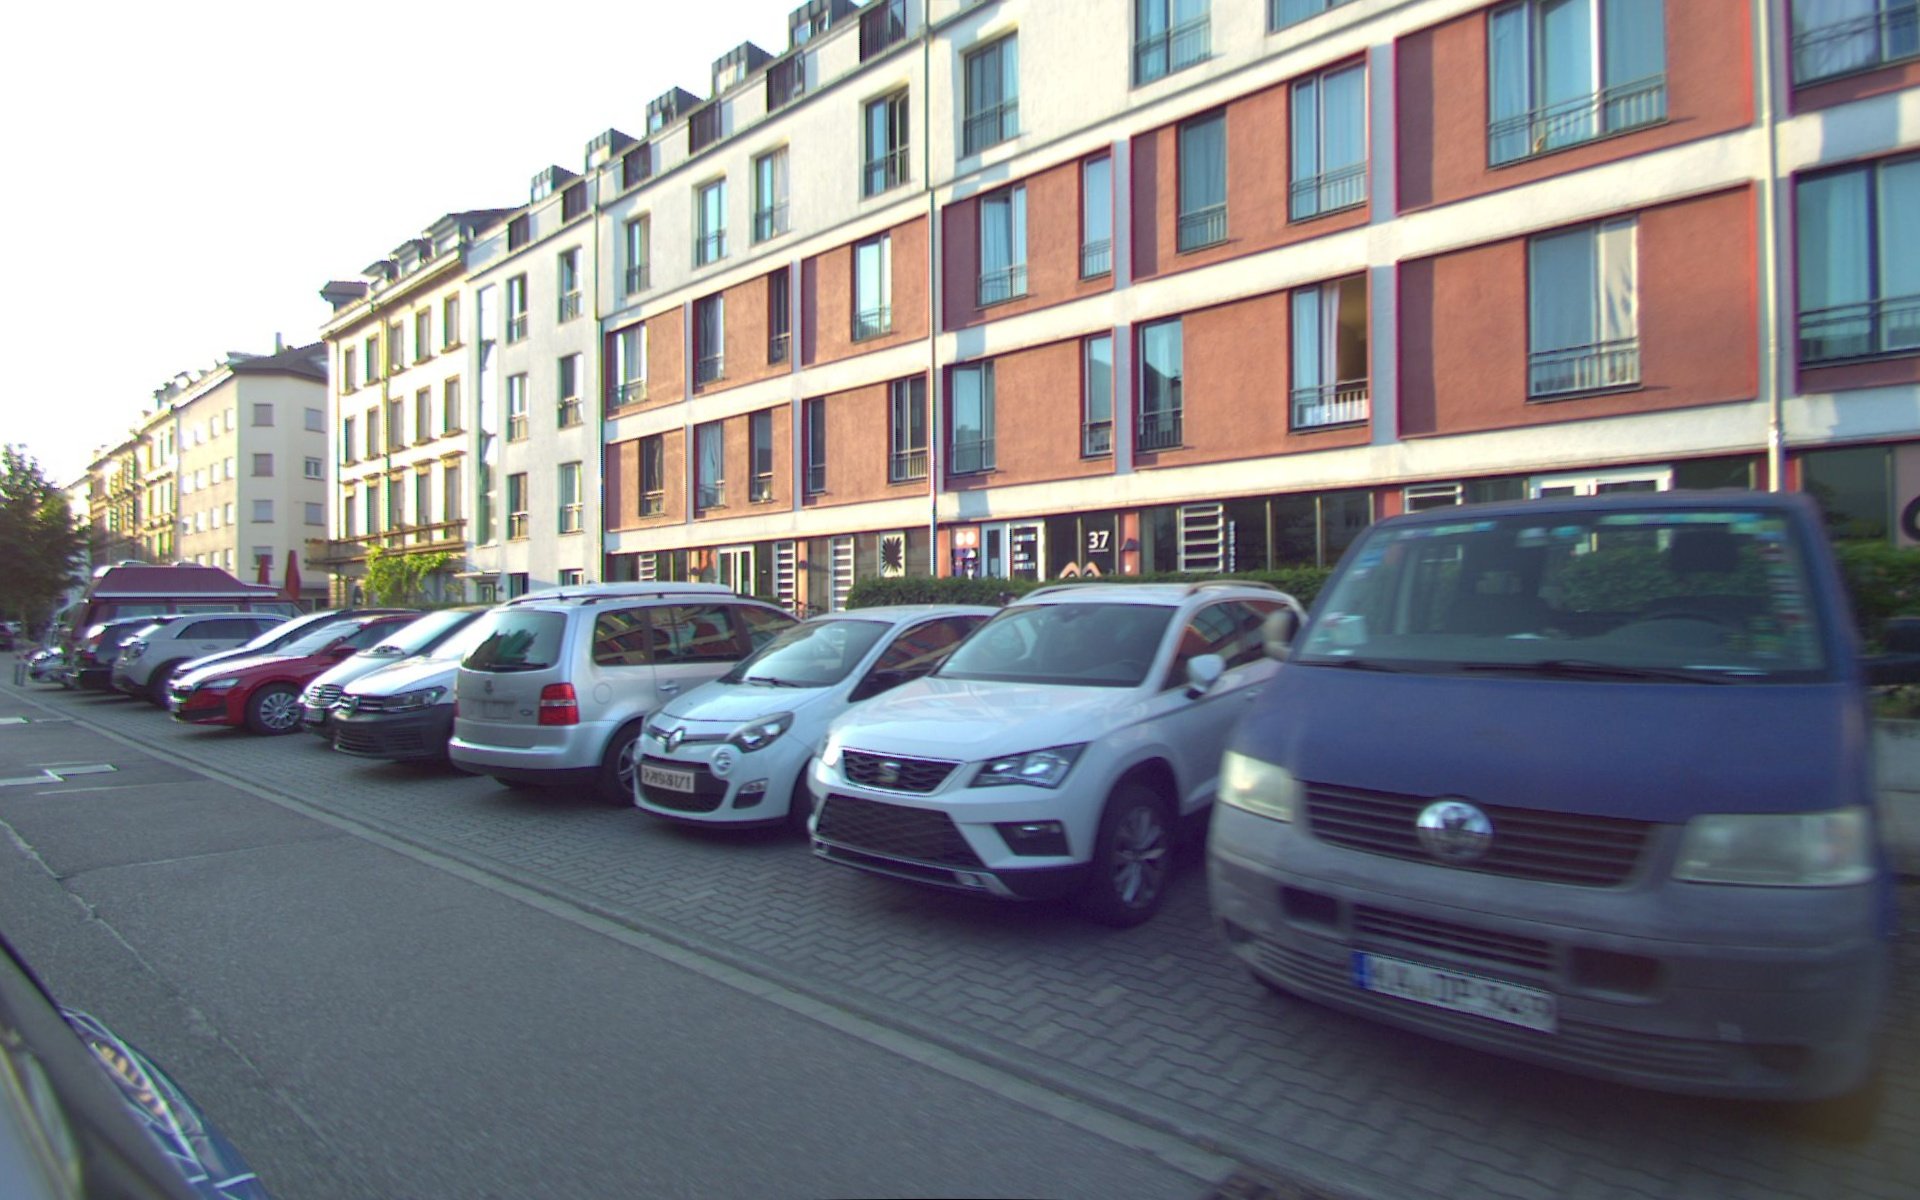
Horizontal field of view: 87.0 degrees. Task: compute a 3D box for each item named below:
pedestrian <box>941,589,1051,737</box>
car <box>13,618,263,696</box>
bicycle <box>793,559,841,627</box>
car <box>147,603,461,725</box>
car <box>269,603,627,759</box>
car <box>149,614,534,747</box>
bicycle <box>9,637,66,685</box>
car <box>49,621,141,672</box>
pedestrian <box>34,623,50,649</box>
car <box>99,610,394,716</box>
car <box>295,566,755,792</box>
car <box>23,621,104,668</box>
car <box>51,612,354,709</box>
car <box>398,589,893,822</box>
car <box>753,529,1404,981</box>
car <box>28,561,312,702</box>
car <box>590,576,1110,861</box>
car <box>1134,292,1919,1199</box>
[{"bbox_3d":[0.392,0.649,10.886,0.830,1.499,0.849,-1,-1,40],"label":"pedestrian"},{"bbox_3d":[-18.067,1.186,22.402,1.800,1.427,3.944,-1,1,34],"label":"car"},{"bbox_3d":[-2.961,-0.124,20.788,0.505,1.323,1.822,0,-1,-23],"label":"bicycle"},{"bbox_3d":[-10.192,0.899,15.919,1.699,1.629,3.844,-1,0,43],"label":"car"},{"bbox_3d":[-6.127,0.853,12.399,1.782,1.574,3.496,-1,0,39],"label":"car"},{"bbox_3d":[-8.358,0.979,13.979,1.788,1.505,4.218,-1,-1,41],"label":"car"},{"bbox_3d":[-22.572,1.466,24.746,2.414,1.061,0.794,-1,0,42],"label":"bicycle"},{"bbox_3d":[-28.262,1.481,33.028,3.579,1.522,1.658,-1,1,39],"label":"car"},{"bbox_3d":[-54.718,2.132,60.319,0.638,1.545,0.636,-2,-2,43],"label":"pedestrian"},{"bbox_3d":[-12.240,0.998,17.542,1.755,1.551,3.906,-1,0,43],"label":"car"},{"bbox_3d":[-4.400,0.686,10.806,1.894,1.910,4.139,-1,-1,36],"label":"car"},{"bbox_3d":[-32.099,1.568,36.210,3.734,1.534,1.577,-1,1,39],"label":"car"},{"bbox_3d":[-14.080,1.038,19.016,1.704,1.536,4.292,-1,0,40],"label":"car"},{"bbox_3d":[-2.590,0.776,9.222,2.046,1.601,3.956,-1,-2,32],"label":"car"},{"bbox_3d":[1.011,0.620,6.099,1.901,1.736,4.142,-1,-1,41],"label":"car"},{"bbox_3d":[-16.155,0.594,20.875,1.931,2.576,4.355,-1,-1,41],"label":"car"},{"bbox_3d":[-0.616,0.706,7.931,1.795,1.630,3.948,-1,-1,39],"label":"car"},{"bbox_3d":[2.923,0.439,4.397,2.000,2.070,4.802,-2,-1,42],"label":"car"}]
